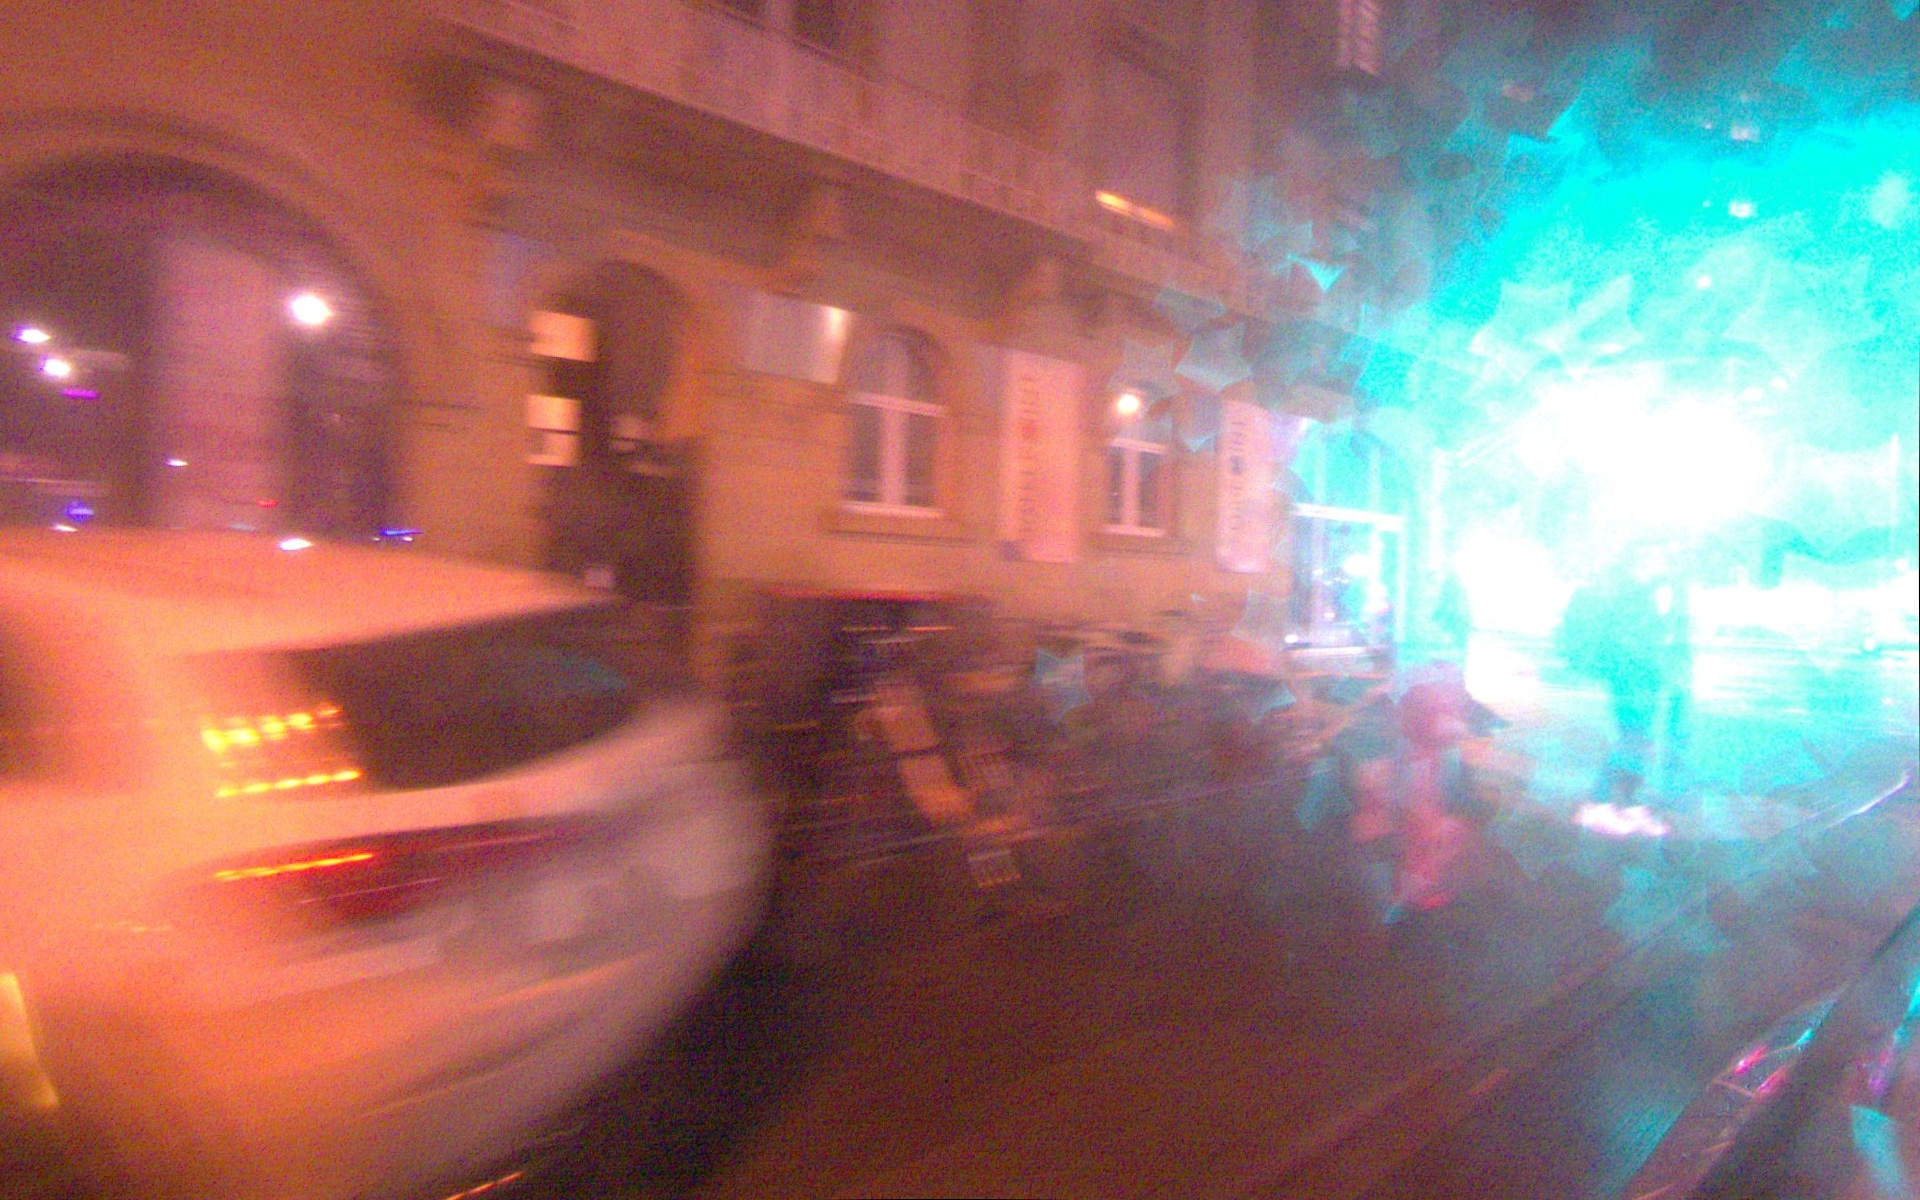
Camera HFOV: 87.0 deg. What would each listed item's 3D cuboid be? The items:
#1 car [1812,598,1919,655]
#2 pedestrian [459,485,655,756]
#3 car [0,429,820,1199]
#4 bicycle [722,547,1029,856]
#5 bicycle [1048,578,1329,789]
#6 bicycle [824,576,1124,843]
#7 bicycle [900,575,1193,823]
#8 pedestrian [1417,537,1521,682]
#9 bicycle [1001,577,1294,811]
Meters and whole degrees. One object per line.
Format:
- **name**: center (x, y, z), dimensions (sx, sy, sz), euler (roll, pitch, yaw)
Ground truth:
- **car**: center (27.398, 0.742, 30.012), dimensions (1.688, 1.562, 3.970), euler (1, 1, 15)
- **pedestrian**: center (-2.678, 0.111, 6.724), dimensions (0.981, 1.637, 0.783), euler (1, 2, -39)
- **car**: center (-2.673, 0.389, 2.768), dimensions (4.124, 1.475, 1.850), euler (3, 1, 14)
- **bicycle**: center (-0.540, 0.431, 5.529), dimensions (0.586, 1.376, 1.899), euler (0, 3, -43)
- **bicycle**: center (1.603, 0.518, 7.383), dimensions (0.698, 1.267, 1.899), euler (0, 3, -43)
- **bicycle**: center (0.007, 0.533, 5.968), dimensions (0.586, 1.267, 1.899), euler (0, 3, -43)
- **bicycle**: center (0.472, 0.520, 6.385), dimensions (0.586, 1.267, 1.899), euler (0, 3, -43)
- **pedestrian**: center (7.489, 0.132, 14.907), dimensions (0.959, 2.039, 1.015), euler (1, 0, -37)
- **bicycle**: center (1.170, 0.528, 6.714), dimensions (0.586, 1.267, 1.899), euler (0, 3, -43)
